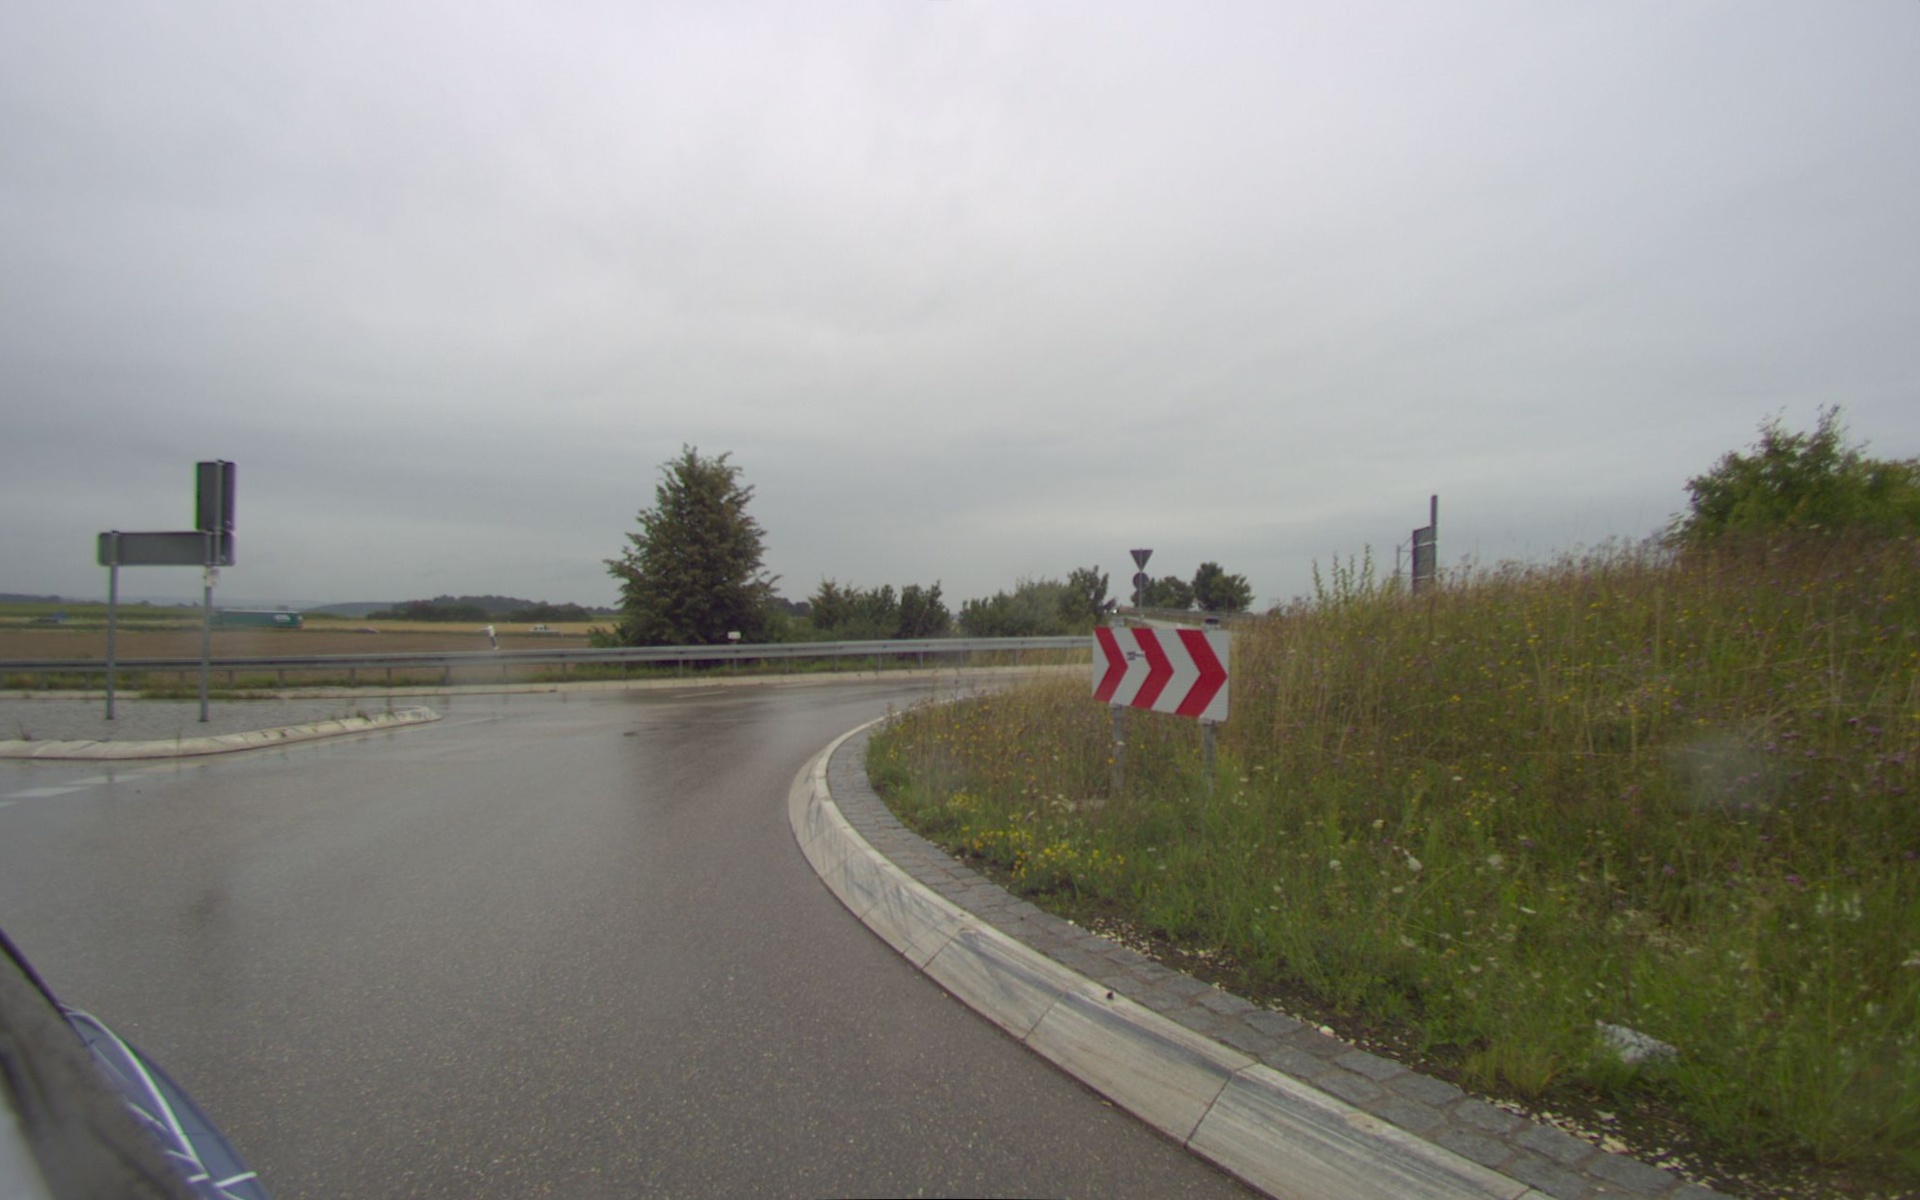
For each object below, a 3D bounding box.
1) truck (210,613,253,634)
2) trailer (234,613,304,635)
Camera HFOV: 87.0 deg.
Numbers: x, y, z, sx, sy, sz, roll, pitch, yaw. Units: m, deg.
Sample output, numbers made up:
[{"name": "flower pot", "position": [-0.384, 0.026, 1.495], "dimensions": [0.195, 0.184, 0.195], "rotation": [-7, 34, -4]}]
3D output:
[{"name": "truck", "position": [-145.934, 4.698, 202.726], "dimensions": [6.174, 3.943, 2.957], "rotation": [2, 1, -11]}, {"name": "trailer", "position": [-139.227, 4.907, 203.947], "dimensions": [11.291, 3.917, 2.957], "rotation": [2, 1, -10]}]
